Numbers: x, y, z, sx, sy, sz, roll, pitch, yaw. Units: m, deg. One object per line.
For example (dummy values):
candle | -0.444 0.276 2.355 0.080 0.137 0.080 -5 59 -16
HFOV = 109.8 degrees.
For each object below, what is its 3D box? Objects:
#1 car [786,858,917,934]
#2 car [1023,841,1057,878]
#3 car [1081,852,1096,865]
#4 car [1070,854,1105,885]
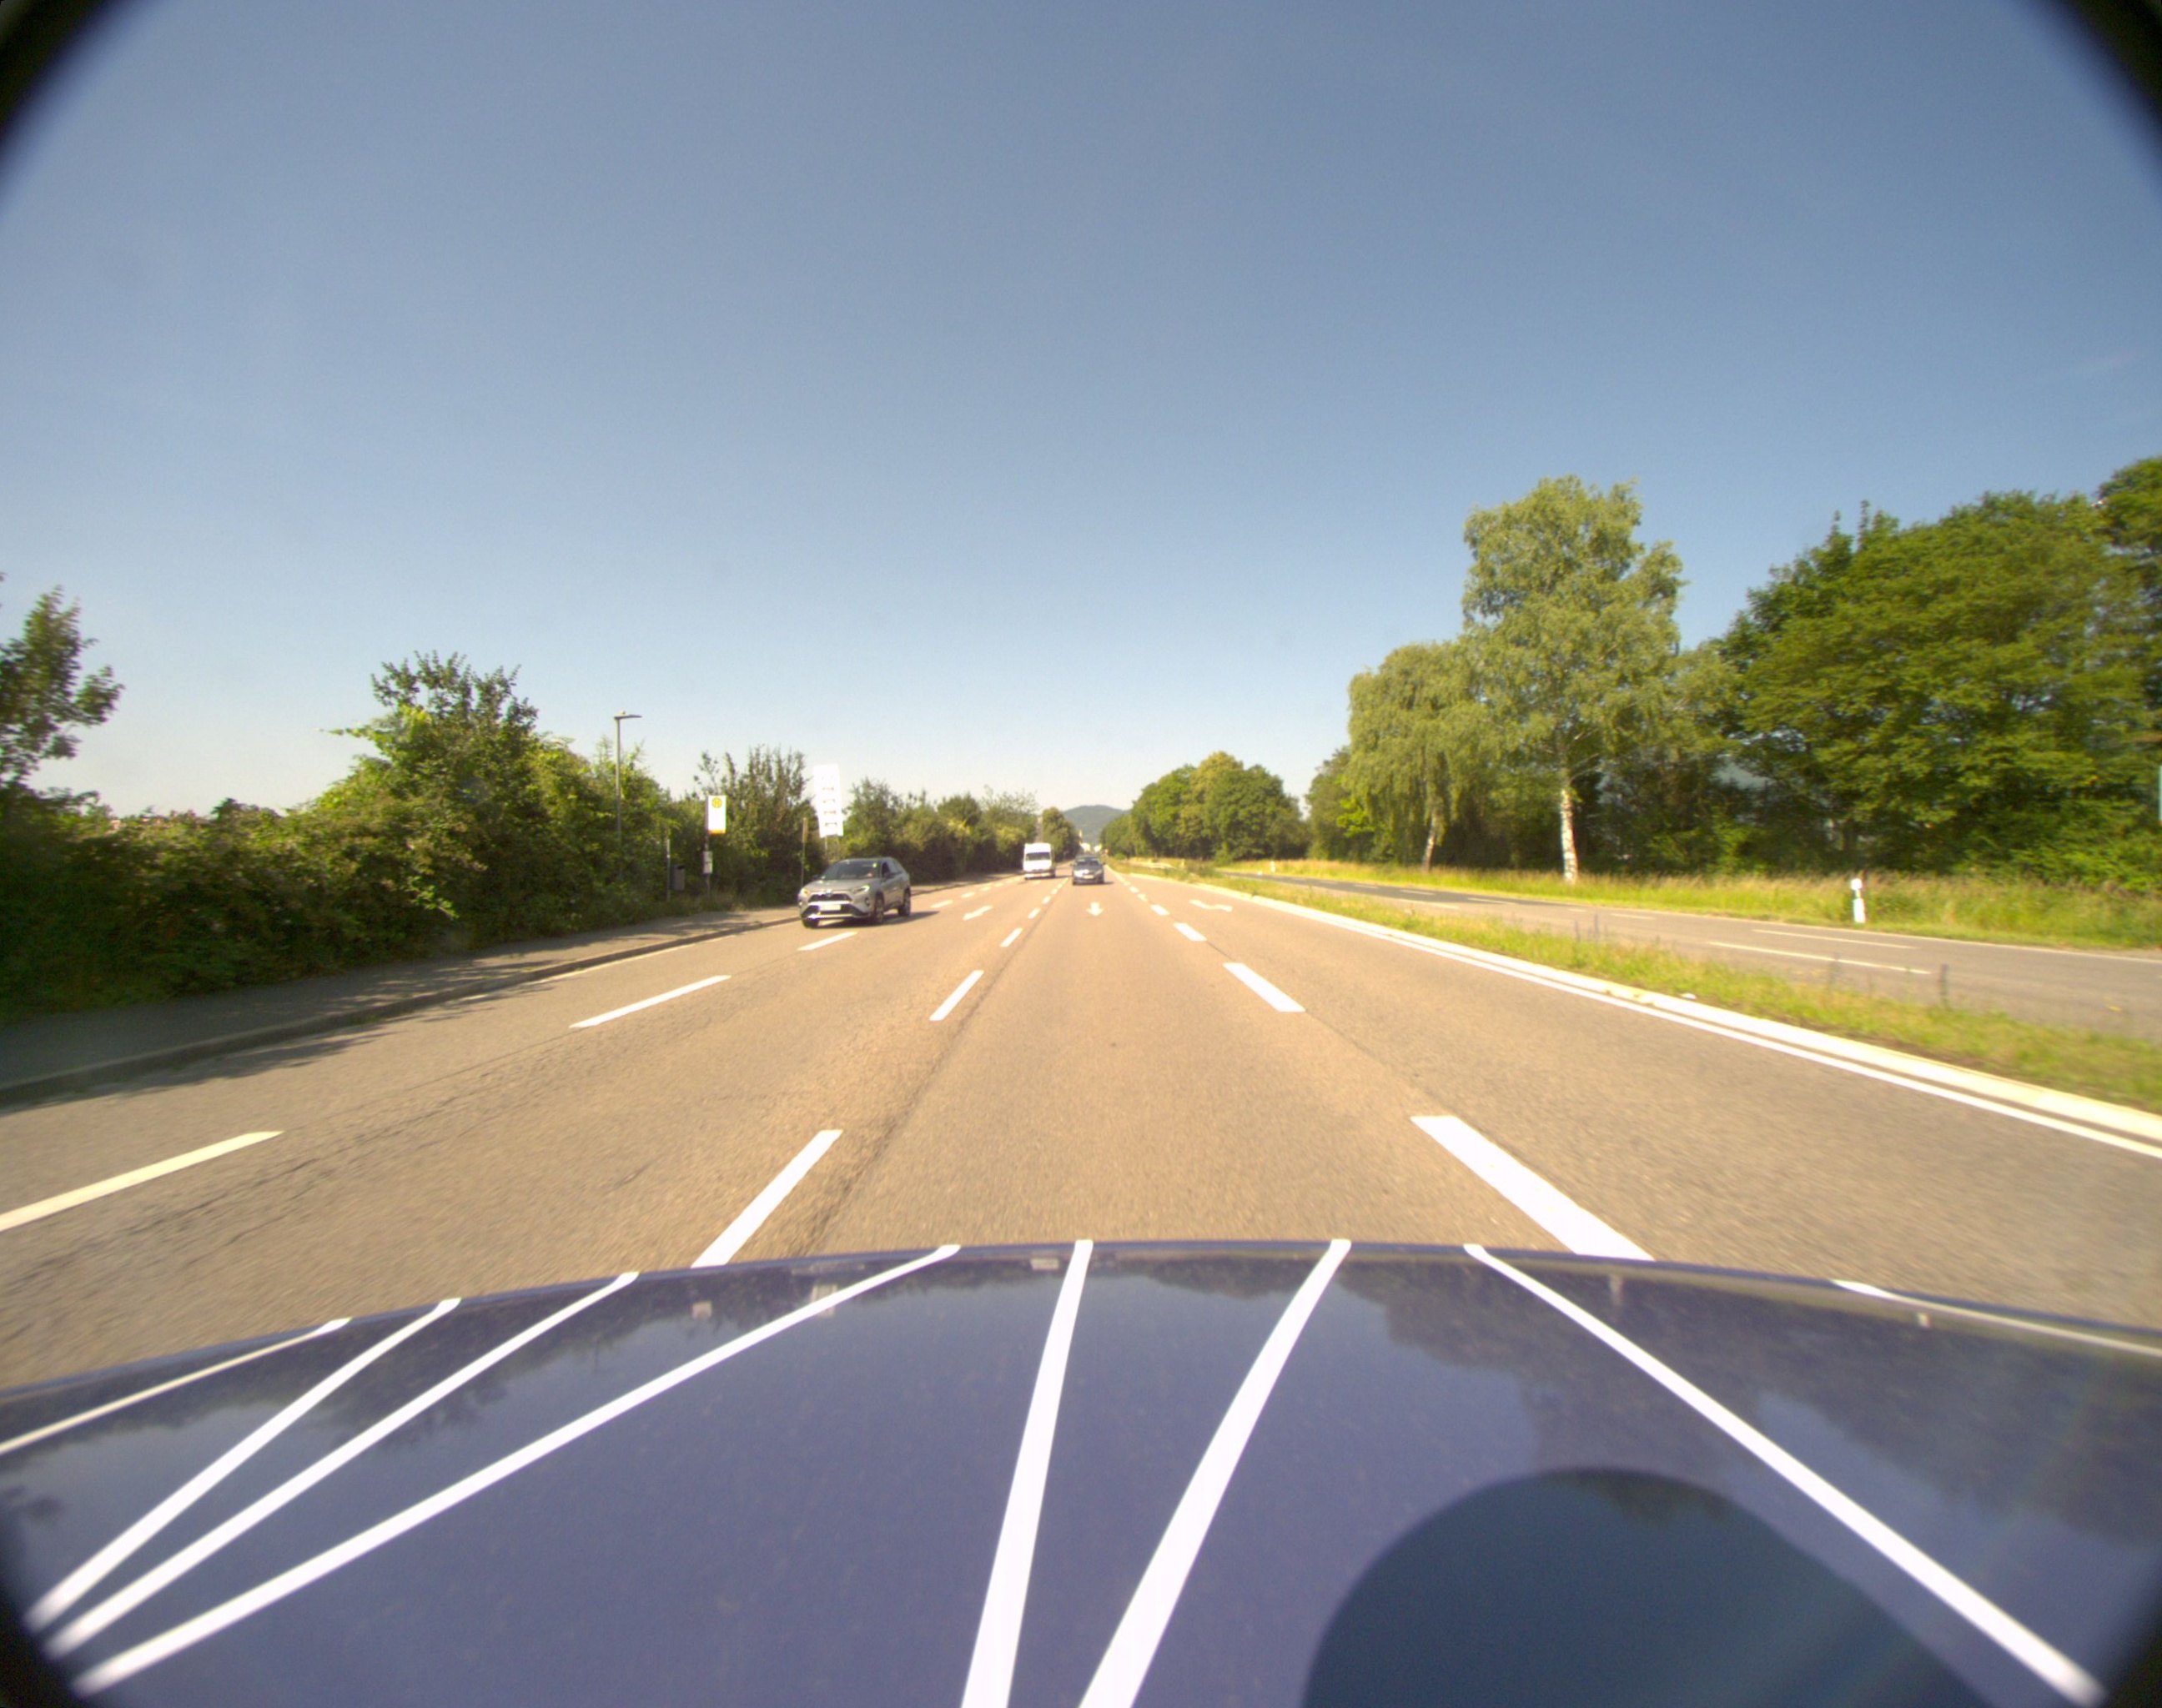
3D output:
car | -5.770 0.980 19.800 1.906 1.670 4.683 -2 0 1
car | -2.802 0.333 53.375 1.998 2.432 5.088 -1 1 1
car | 0.842 0.465 88.769 1.678 1.435 3.621 -1 1 1
car | 0.362 0.780 39.748 1.678 1.435 4.361 -1 1 1
